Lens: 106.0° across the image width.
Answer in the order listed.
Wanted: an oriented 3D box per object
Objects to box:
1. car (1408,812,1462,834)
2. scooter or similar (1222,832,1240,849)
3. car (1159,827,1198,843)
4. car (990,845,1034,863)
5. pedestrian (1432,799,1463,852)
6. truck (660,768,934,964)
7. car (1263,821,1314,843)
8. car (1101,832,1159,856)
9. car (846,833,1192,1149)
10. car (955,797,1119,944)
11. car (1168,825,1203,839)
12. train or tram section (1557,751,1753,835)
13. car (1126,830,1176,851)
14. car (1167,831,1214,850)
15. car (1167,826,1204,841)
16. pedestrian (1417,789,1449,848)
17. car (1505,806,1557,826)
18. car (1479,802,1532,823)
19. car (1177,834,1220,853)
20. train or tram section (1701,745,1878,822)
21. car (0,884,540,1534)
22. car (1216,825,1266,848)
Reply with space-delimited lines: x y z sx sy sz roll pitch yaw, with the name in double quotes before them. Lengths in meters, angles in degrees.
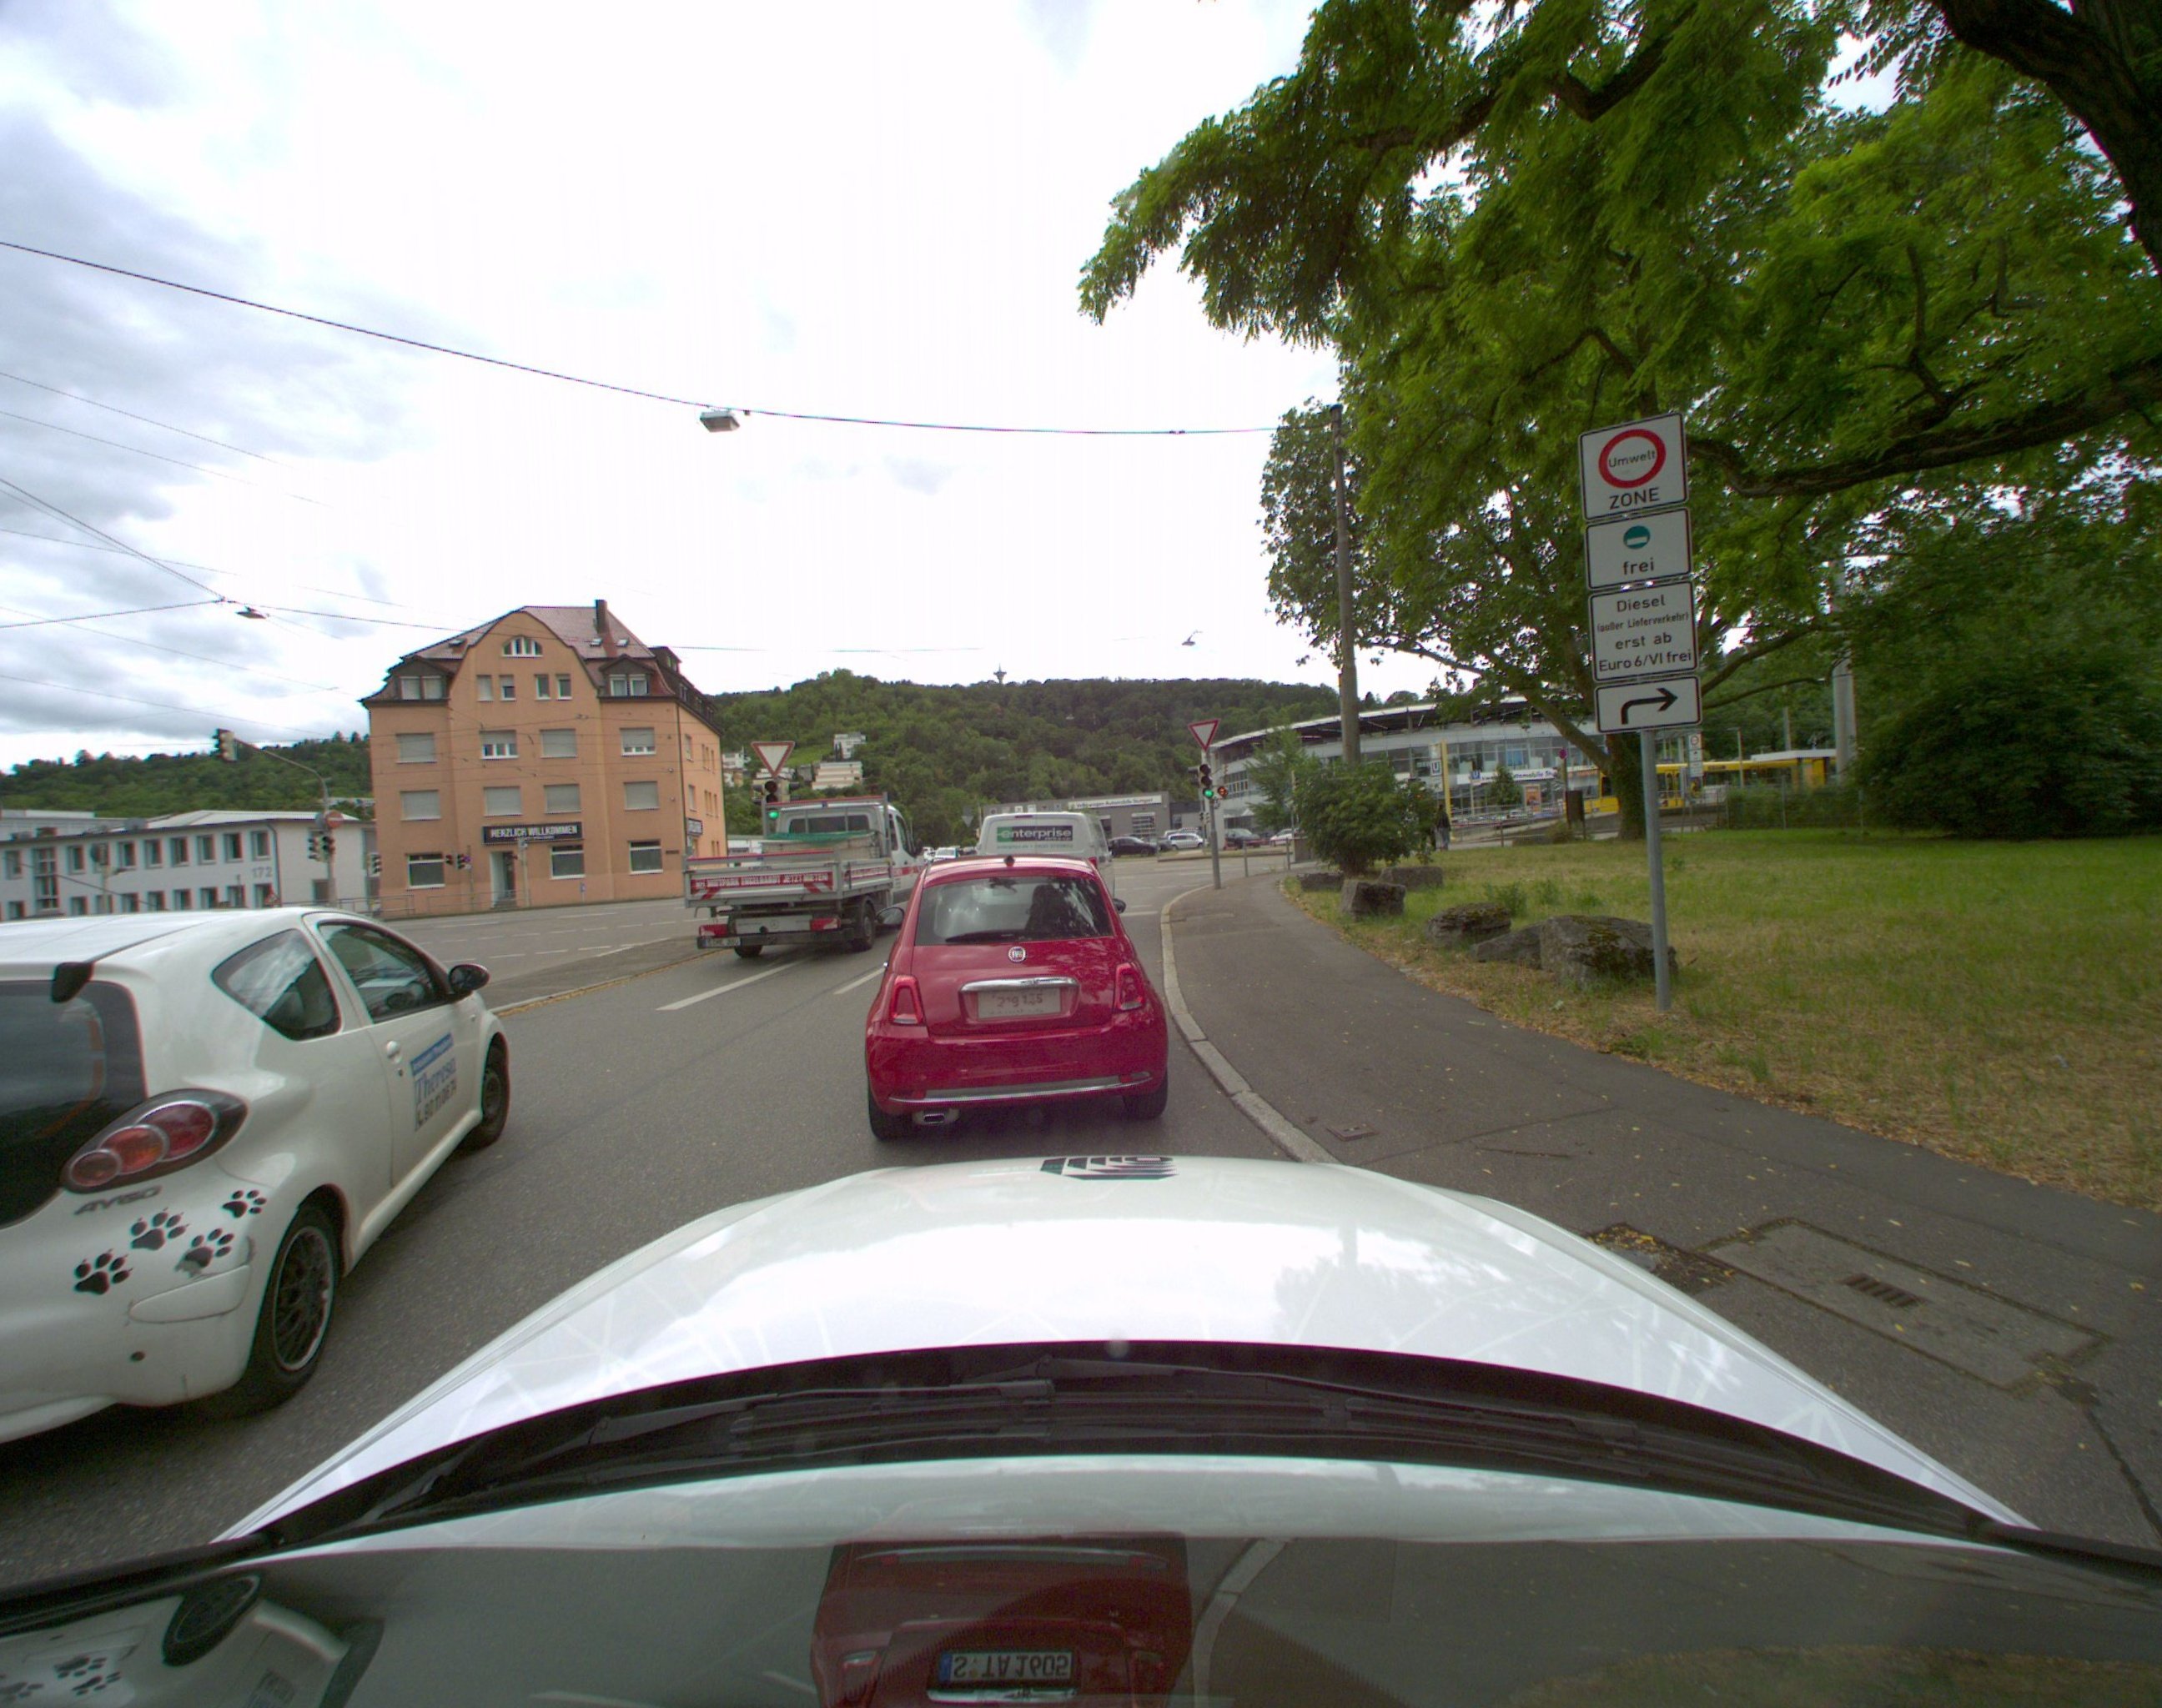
"car" 30.479 -2.663 70.282 1.930 1.554 3.969 -5 1 -23
"scooter or similar" 11.361 -1.023 61.710 1.197 1.288 0.575 0 -1 -1
"car" 11.471 -2.200 95.831 4.477 1.729 2.002 0 -1 3
"car" -7.596 0.007 89.742 4.476 1.997 2.002 0 -1 3
"pedestrian" 11.807 -0.913 26.259 0.671 1.689 0.601 0 -1 -18
"truck" -4.230 0.113 13.508 2.305 2.421 5.656 -4 1 1
"car" 16.811 -1.782 66.232 2.002 1.640 3.969 0 -1 -23
"car" 3.722 -0.762 61.381 3.955 1.639 2.010 -1 4 17
"car" -0.463 0.632 6.011 1.695 1.525 3.993 0 1 -5
"car" -0.504 0.147 13.772 1.988 2.040 4.841 0 2 6
"car" 13.483 -2.863 105.252 4.477 1.729 2.002 0 -1 3
"train or tram section" 33.317 -3.558 47.134 11.912 3.966 2.732 -5 1 -19
"car" 6.002 -1.134 69.917 3.980 1.706 1.996 0 -1 -5
"car" 10.858 -1.318 80.779 4.477 1.729 2.002 0 -1 3
"car" 12.819 -2.538 100.102 4.477 1.729 2.002 0 -1 3
"pedestrian" 11.634 -1.169 26.945 0.671 1.867 0.601 -3 0 -18
"car" 40.440 -3.421 73.321 1.924 1.554 3.980 0 -1 -14
"car" 37.790 -3.688 72.639 1.924 1.554 3.980 -5 0 -14
"car" 12.864 -1.153 89.364 4.476 1.997 2.002 0 -1 3
"train or tram section" 44.538 -4.452 51.135 11.912 3.966 2.732 -5 1 -19
"car" -3.479 0.897 3.296 1.601 1.420 3.346 -1 0 -24
"car" 12.644 -1.373 64.516 2.002 1.640 3.969 -3 0 -23
